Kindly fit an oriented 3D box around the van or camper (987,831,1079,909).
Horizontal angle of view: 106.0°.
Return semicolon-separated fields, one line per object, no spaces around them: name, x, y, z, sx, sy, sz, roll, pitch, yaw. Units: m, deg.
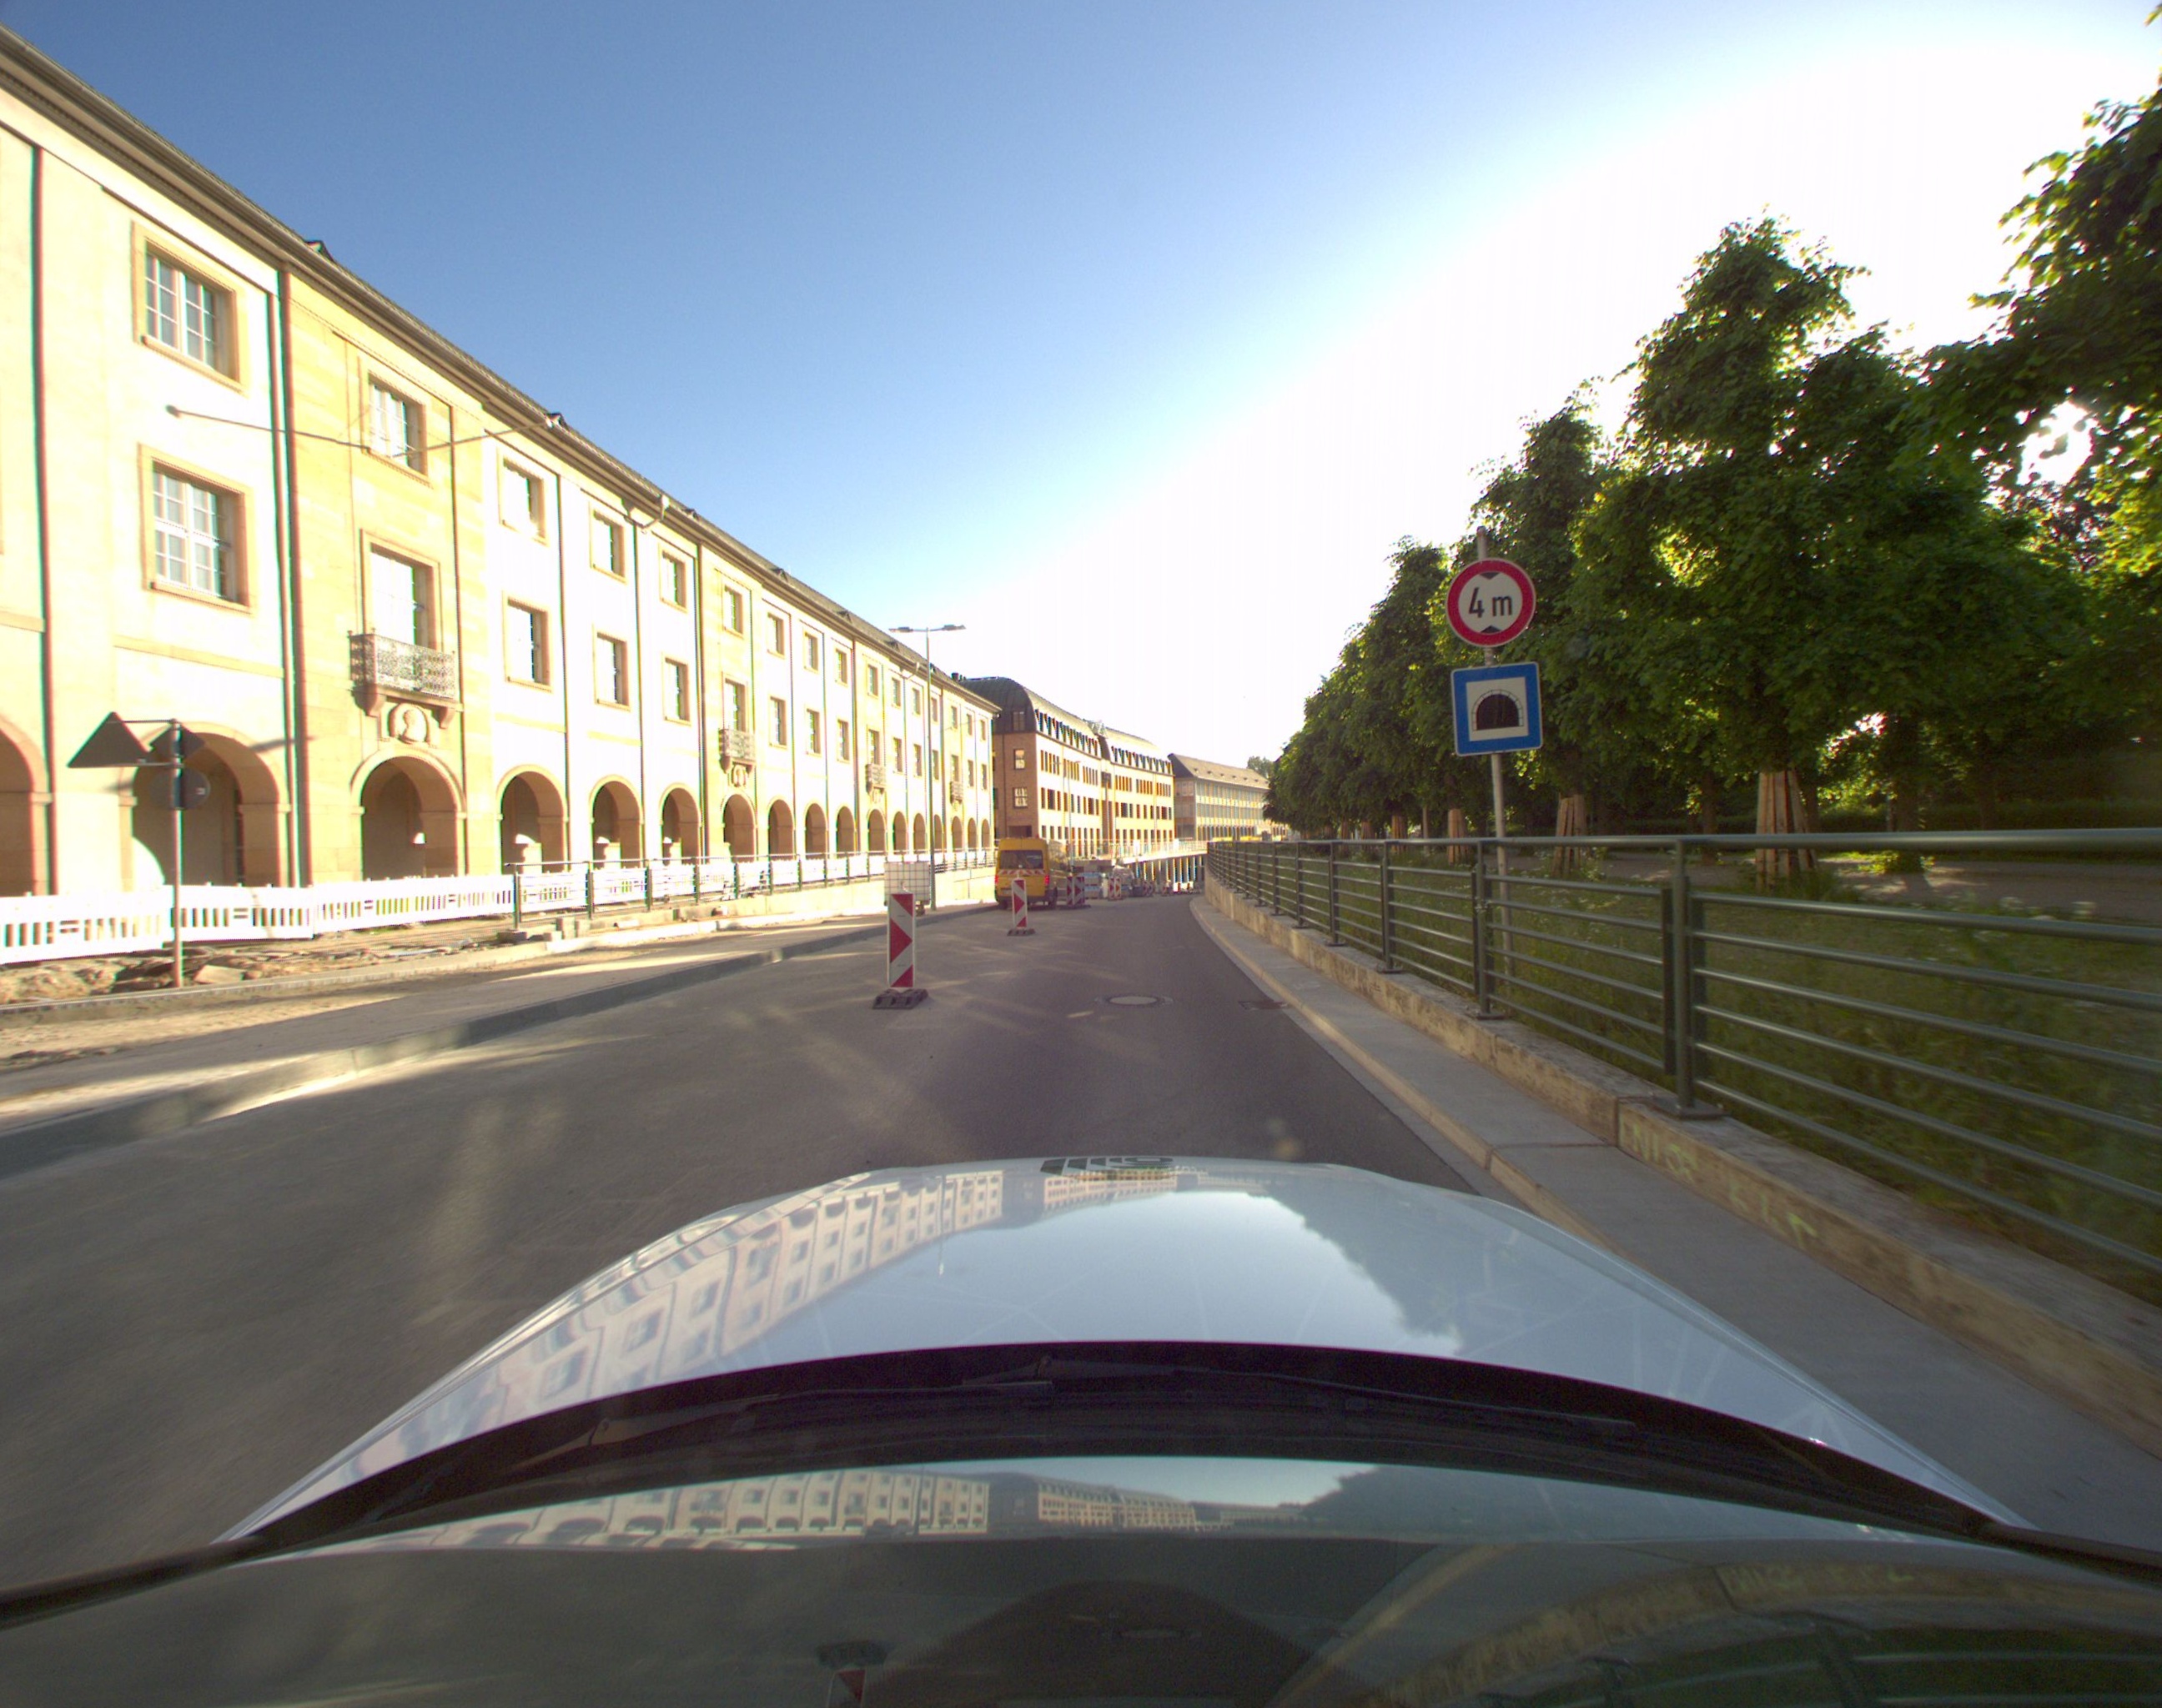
van or camper;-1.632;0.639;30.876;2.182;2.613;6.837;1;-2;7
